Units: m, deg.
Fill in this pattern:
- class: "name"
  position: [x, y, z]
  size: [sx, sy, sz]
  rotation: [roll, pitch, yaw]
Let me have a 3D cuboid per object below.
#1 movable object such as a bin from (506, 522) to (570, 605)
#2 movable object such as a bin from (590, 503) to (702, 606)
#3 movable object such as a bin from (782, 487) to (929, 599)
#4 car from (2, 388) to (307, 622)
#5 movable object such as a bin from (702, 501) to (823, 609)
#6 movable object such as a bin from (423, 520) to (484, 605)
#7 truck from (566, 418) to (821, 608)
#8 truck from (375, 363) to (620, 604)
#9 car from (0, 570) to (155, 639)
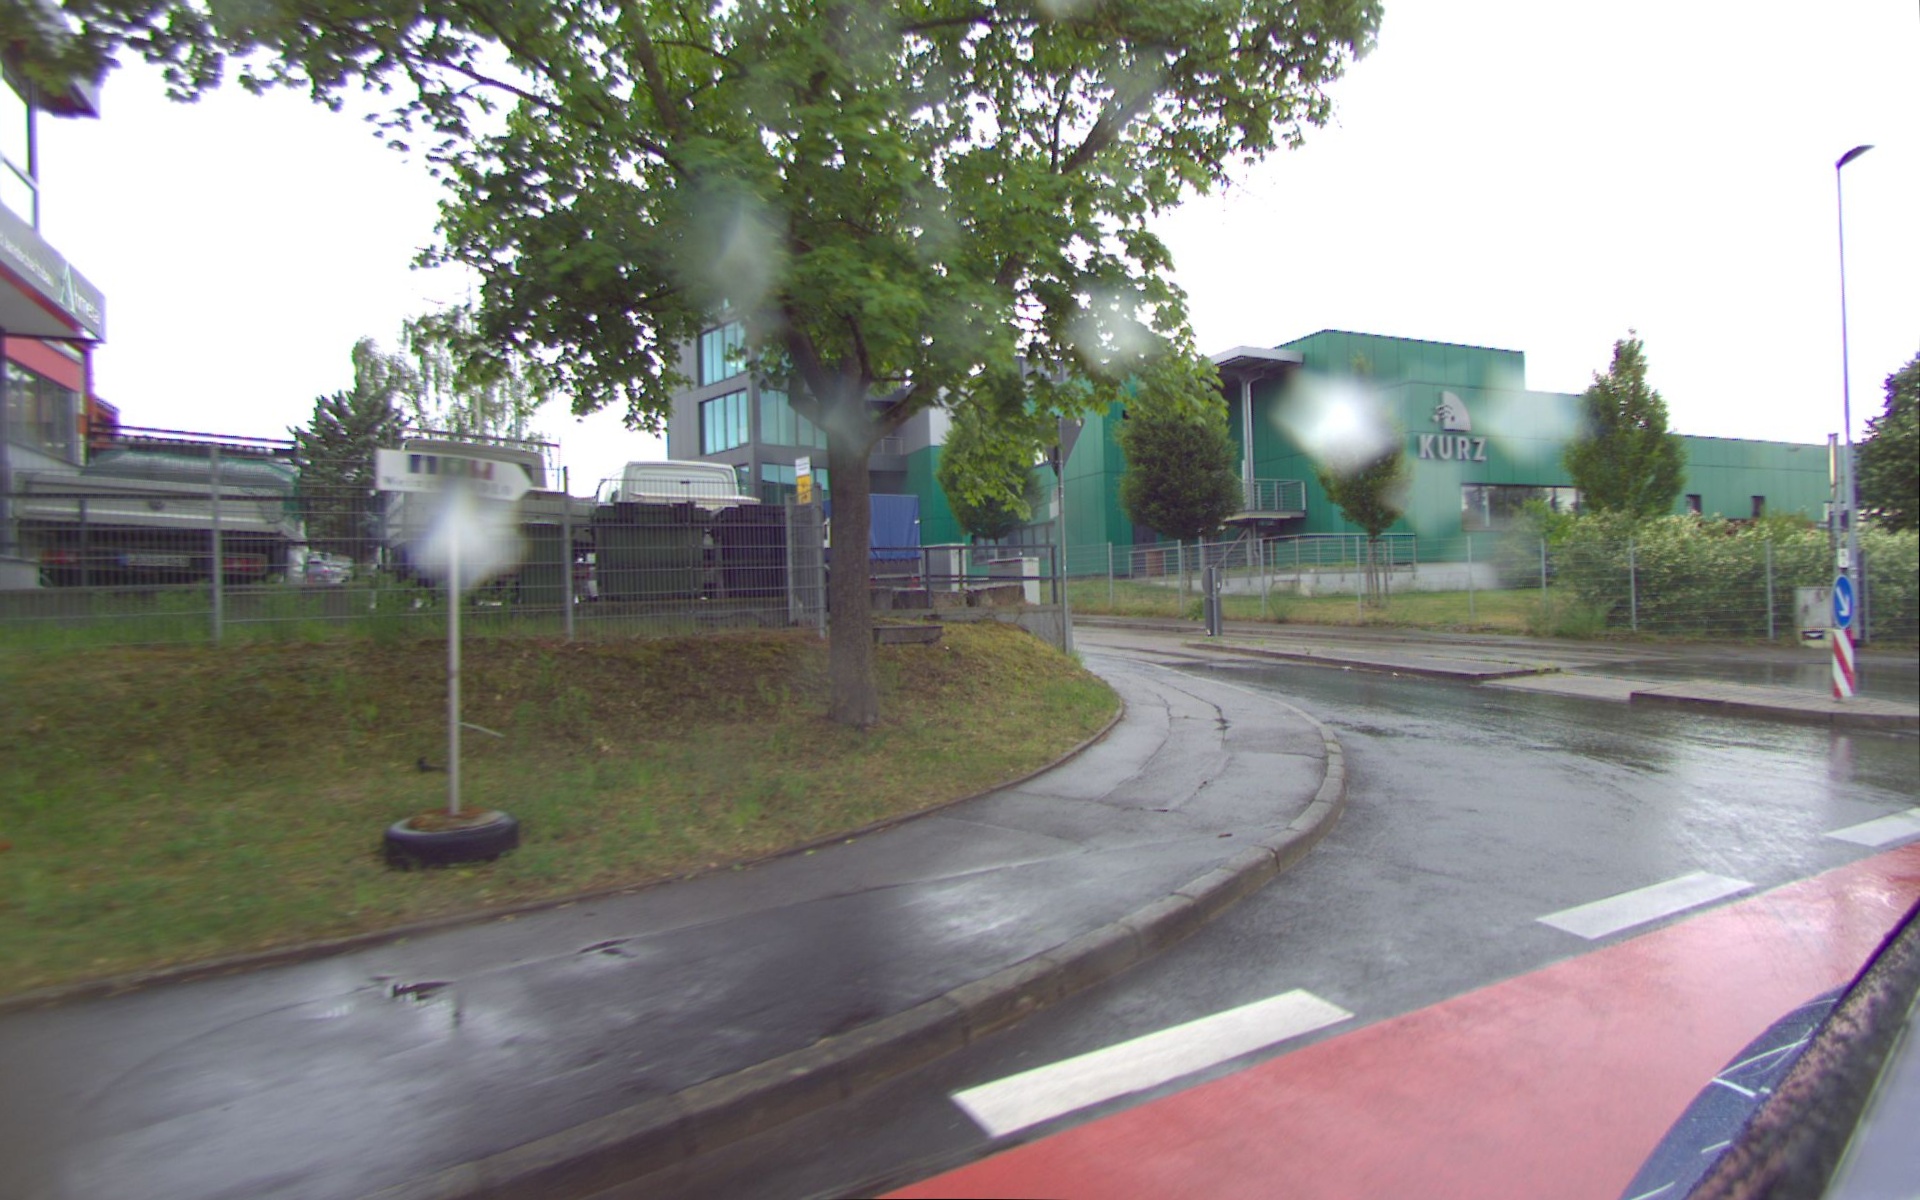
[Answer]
- class: "movable object such as a bin"
  position: [-4.365, -0.380, 10.459]
  size: [0.555, 0.827, 0.540]
  rotation: [-1, 2, -29]
- class: "movable object such as a bin"
  position: [-3.427, -0.485, 11.013]
  size: [1.032, 1.055, 0.885]
  rotation: [-1, 2, -28]
- class: "movable object such as a bin"
  position: [-1.550, -0.813, 14.841]
  size: [1.289, 1.519, 1.855]
  rotation: [-1, 2, -43]
- class: "car"
  position: [-8.724, -0.918, 11.470]
  size: [2.022, 2.038, 4.944]
  rotation: [-1, 2, -31]
- class: "movable object such as a bin"
  position: [-2.299, -0.511, 11.716]
  size: [1.119, 1.176, 1.028]
  rotation: [-1, 2, -30]
- class: "movable object such as a bin"
  position: [-5.054, -0.371, 10.096]
  size: [0.512, 0.811, 0.540]
  rotation: [0, 2, -29]
- class: "truck"
  position: [-4.154, -1.131, 14.901]
  size: [2.071, 2.241, 5.658]
  rotation: [-1, 2, -32]
- class: "truck"
  position: [-5.947, -1.188, 12.613]
  size: [2.206, 2.371, 4.840]
  rotation: [-1, 1, -31]
- class: "car"
  position: [-20.011, 0.075, 22.775]
  size: [2.665, 1.464, 1.681]
  rotation: [0, 1, -27]
